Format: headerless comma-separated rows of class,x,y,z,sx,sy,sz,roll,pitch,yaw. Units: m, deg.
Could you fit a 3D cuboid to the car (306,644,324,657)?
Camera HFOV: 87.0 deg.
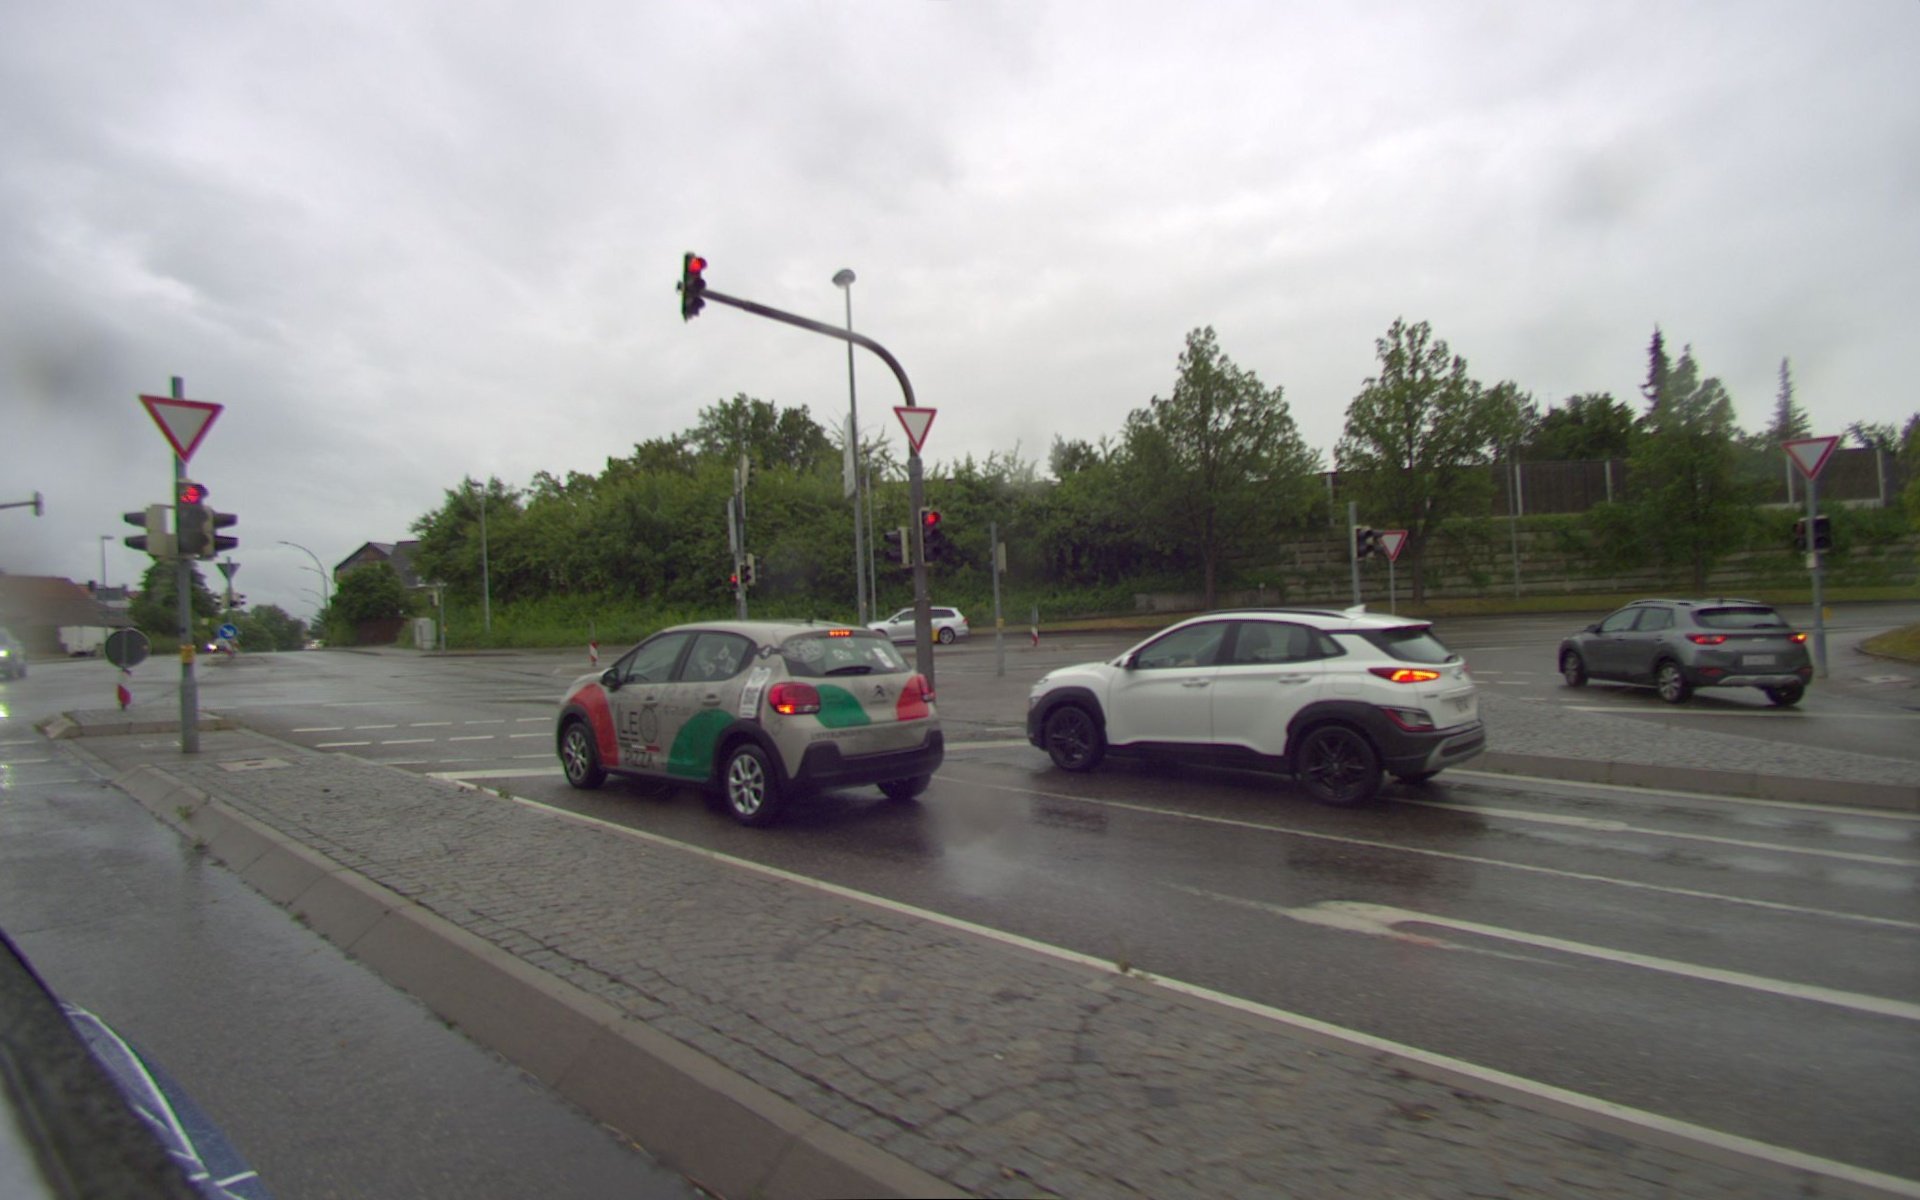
car,-77.952,6.086,122.276,1.599,1.516,3.831,1,-3,-36

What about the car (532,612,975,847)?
car,-1.898,0.882,8.488,4.000,1.506,1.643,-2,-2,43

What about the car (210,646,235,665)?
car,-65.647,4.953,90.147,1.730,1.568,3.929,-1,-1,-36

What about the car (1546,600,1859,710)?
car,11.147,0.771,15.628,1.878,1.467,3.999,0,-1,1

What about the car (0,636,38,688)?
car,-29.371,1.877,30.388,1.868,1.494,4.011,-1,-2,-33

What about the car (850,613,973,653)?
car,-1.893,1.254,38.863,4.457,1.373,1.767,-1,-1,-12

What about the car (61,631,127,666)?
car,-63.869,3.535,74.738,1.629,2.368,4.003,-2,-1,-4

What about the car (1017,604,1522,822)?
car,2.603,0.836,9.112,4.000,1.506,1.701,-2,-1,43
